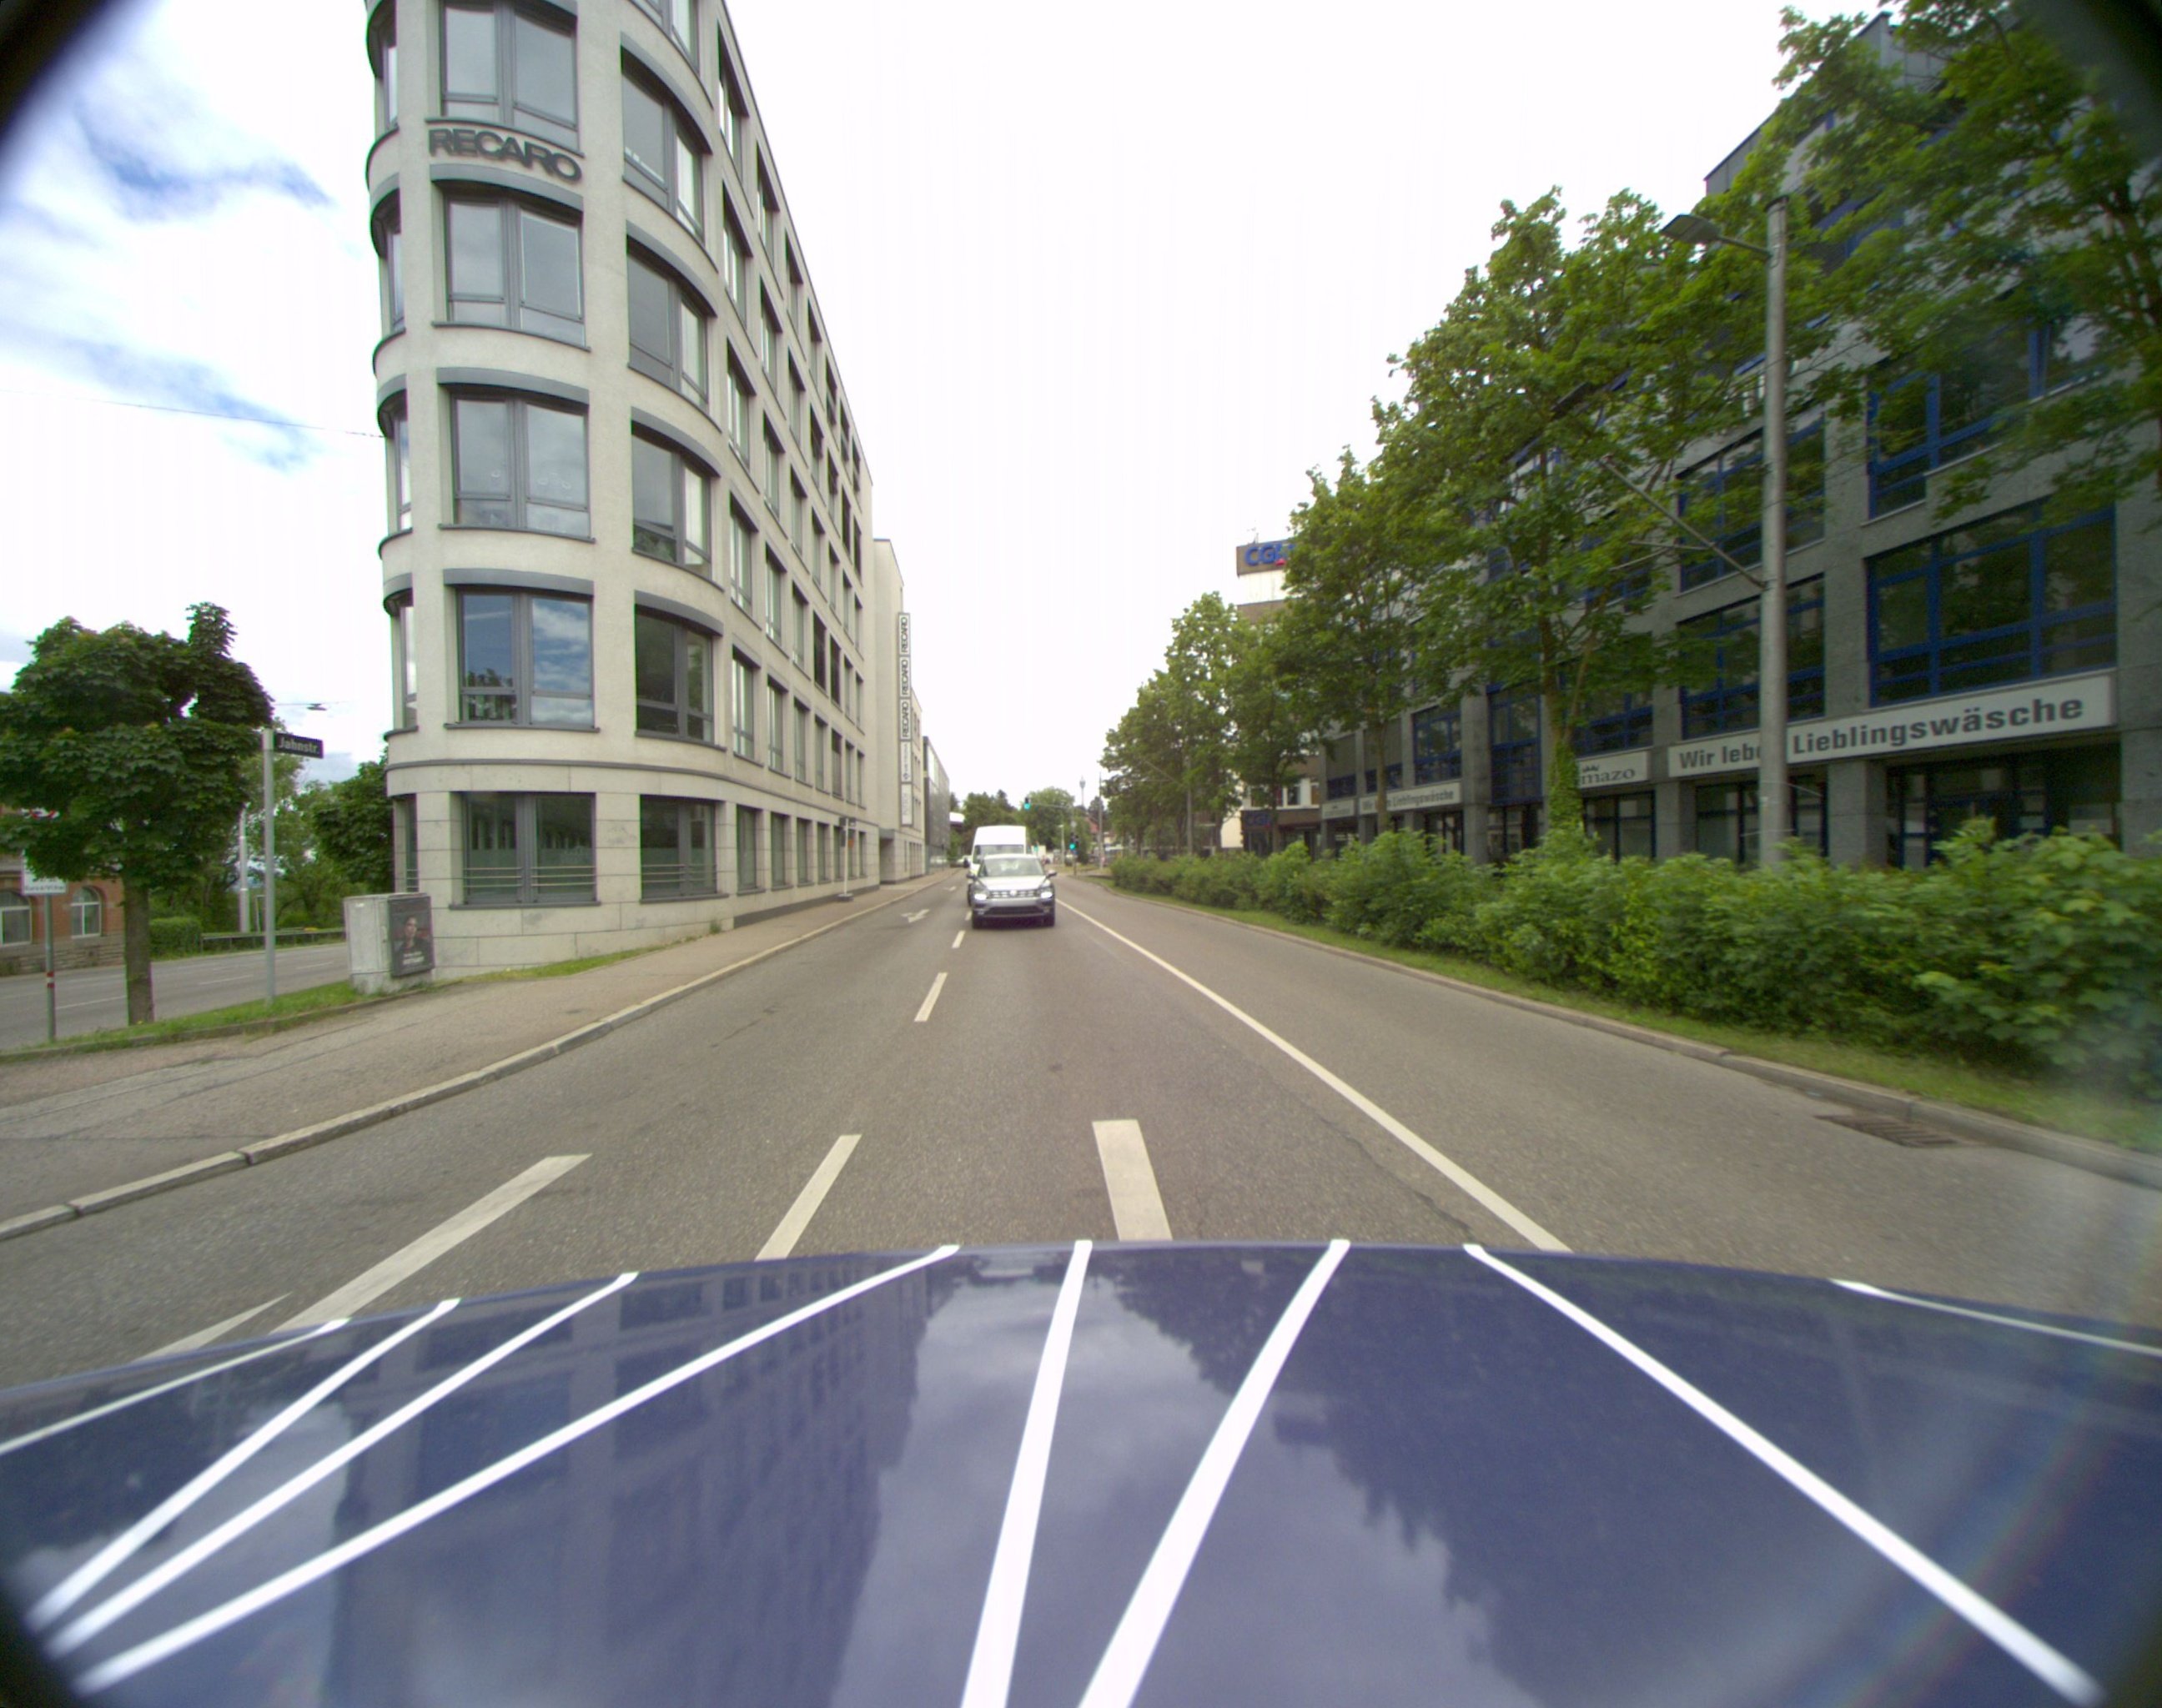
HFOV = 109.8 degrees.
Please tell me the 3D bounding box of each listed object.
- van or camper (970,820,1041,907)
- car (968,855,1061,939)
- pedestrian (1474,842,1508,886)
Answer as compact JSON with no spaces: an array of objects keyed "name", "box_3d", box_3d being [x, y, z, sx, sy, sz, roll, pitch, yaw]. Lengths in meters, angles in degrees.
[{"name":"van or camper","box_3d":[-2.706,0.289,27.181,2.111,2.674,6.295,-3,0,-6]},{"name":"car","box_3d":[-1.591,0.875,17.774,1.834,1.636,4.323,-3,0,-6]},{"name":"pedestrian","box_3d":[14.011,0.344,25.989,0.699,1.474,0.679,-3,1,-6]}]
